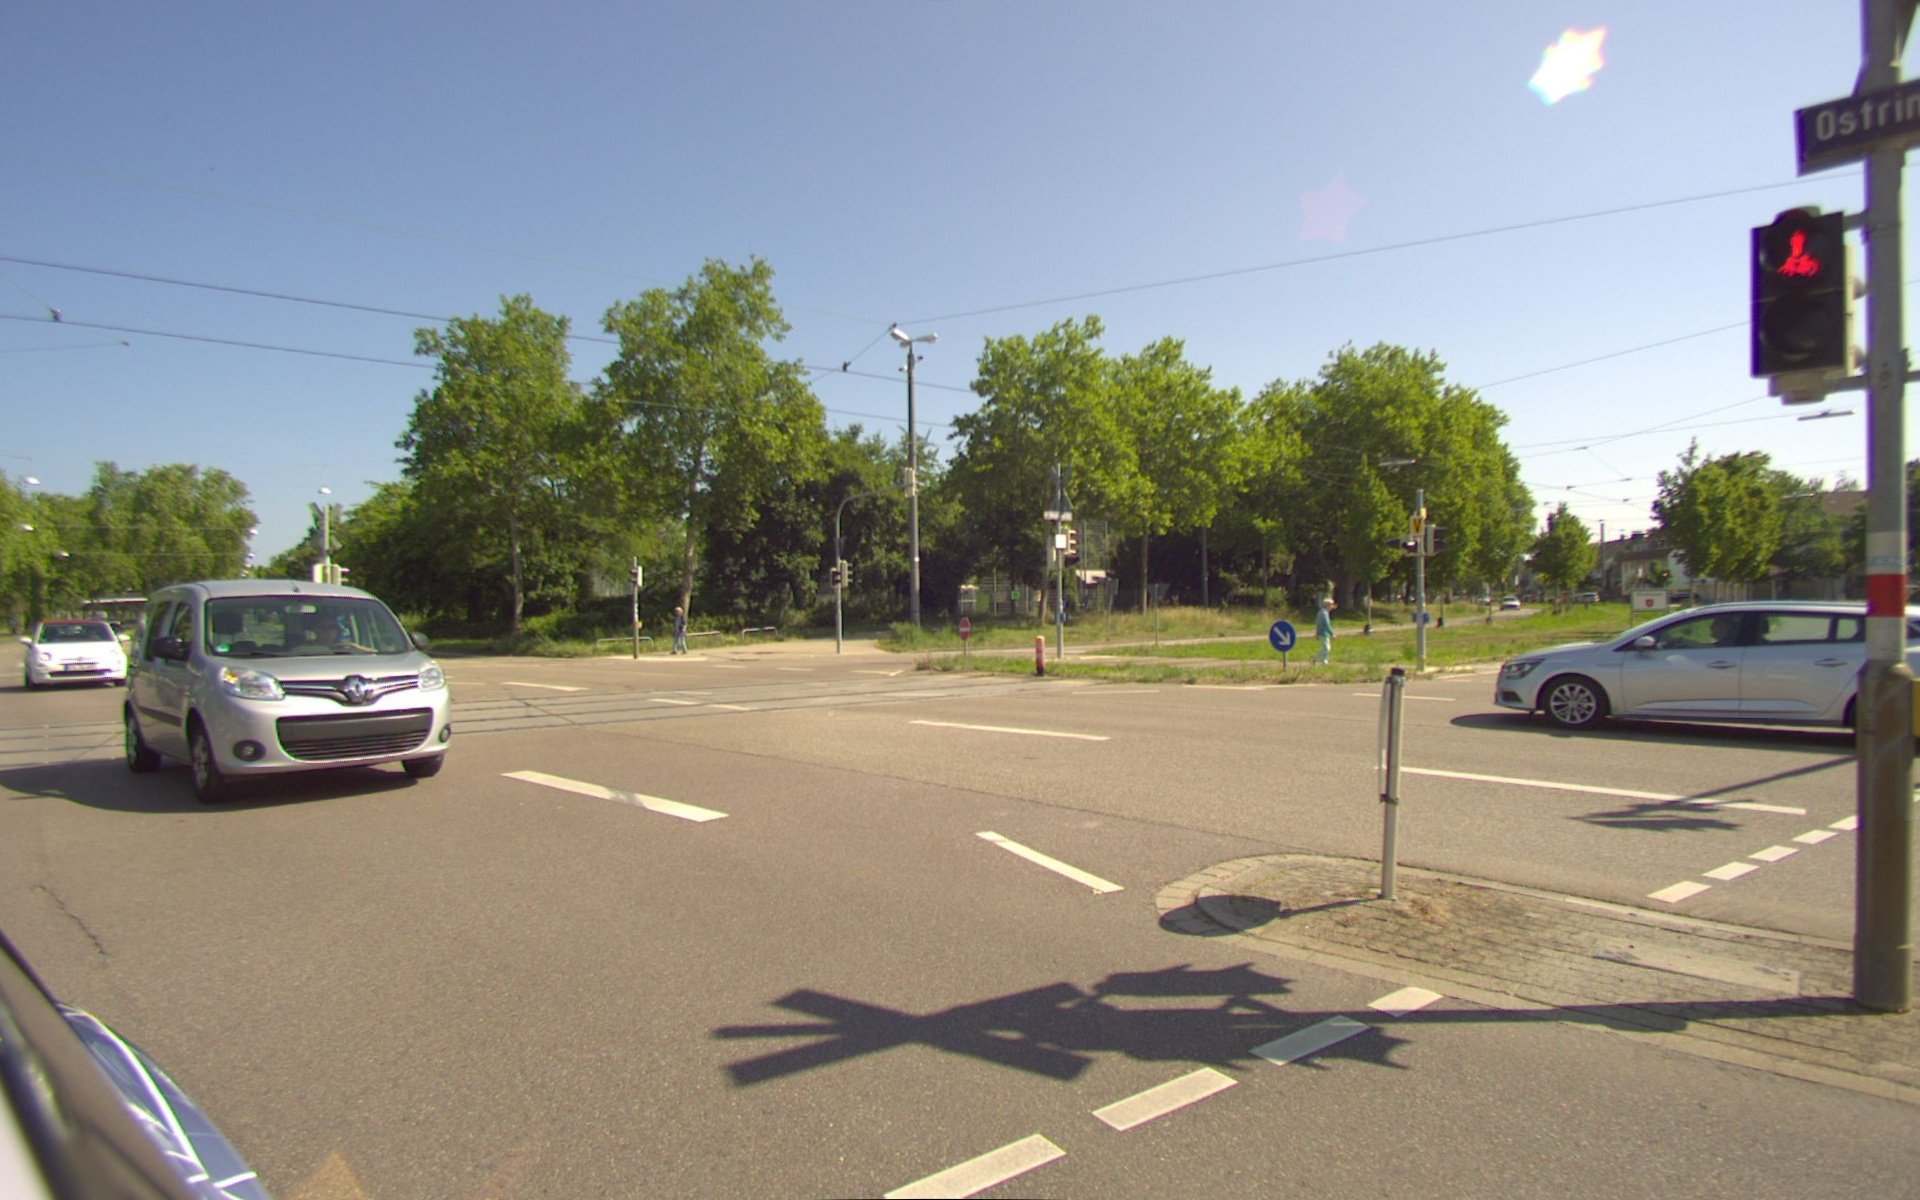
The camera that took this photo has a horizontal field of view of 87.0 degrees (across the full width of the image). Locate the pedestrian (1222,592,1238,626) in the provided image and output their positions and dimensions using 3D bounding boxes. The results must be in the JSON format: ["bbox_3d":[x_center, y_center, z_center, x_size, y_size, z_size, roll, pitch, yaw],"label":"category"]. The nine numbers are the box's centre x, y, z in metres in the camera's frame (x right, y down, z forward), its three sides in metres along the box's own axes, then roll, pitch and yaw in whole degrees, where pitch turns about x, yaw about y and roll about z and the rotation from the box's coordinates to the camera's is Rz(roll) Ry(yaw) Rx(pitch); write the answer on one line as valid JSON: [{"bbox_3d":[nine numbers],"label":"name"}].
[{"bbox_3d":[17.030,0.575,63.760,0.754,2.106,0.611,-1,0,38],"label":"pedestrian"}]

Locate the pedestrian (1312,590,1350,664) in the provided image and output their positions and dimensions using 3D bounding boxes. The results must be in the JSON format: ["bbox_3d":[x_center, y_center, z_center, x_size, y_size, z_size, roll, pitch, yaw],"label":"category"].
[{"bbox_3d":[8.004,0.583,21.830,0.668,1.573,0.361,-1,-1,38],"label":"pedestrian"}]

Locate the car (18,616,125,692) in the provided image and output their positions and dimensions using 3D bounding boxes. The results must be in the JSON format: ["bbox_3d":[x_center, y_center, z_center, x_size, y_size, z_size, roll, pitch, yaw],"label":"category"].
[{"bbox_3d":[-19.911,1.135,22.673,1.665,1.502,4.381,0,-1,-42],"label":"car"}]

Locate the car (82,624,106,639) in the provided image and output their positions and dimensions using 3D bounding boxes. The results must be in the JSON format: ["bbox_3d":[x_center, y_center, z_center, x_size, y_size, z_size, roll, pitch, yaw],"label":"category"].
[{"bbox_3d":[-123.846,4.461,144.728,1.966,2.029,4.011,-1,-1,-32],"label":"car"}]

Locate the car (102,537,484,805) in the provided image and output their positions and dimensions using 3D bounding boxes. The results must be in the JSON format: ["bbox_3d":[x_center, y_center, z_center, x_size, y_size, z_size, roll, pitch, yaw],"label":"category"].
[{"bbox_3d":[-6.179,0.572,9.163,4.374,1.854,1.852,-3,-3,42],"label":"car"}]

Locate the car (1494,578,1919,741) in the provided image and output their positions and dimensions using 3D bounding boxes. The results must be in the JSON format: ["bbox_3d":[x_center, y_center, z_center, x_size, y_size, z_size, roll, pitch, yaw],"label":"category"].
[{"bbox_3d":[8.519,0.573,10.895,4.656,1.519,1.677,-1,-1,39],"label":"car"}]

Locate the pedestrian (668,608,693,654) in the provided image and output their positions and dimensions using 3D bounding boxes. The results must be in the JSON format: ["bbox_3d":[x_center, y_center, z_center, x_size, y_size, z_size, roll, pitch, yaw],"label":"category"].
[{"bbox_3d":[-9.398,1.033,34.057,0.568,1.546,0.599,-1,-1,40],"label":"pedestrian"}]
